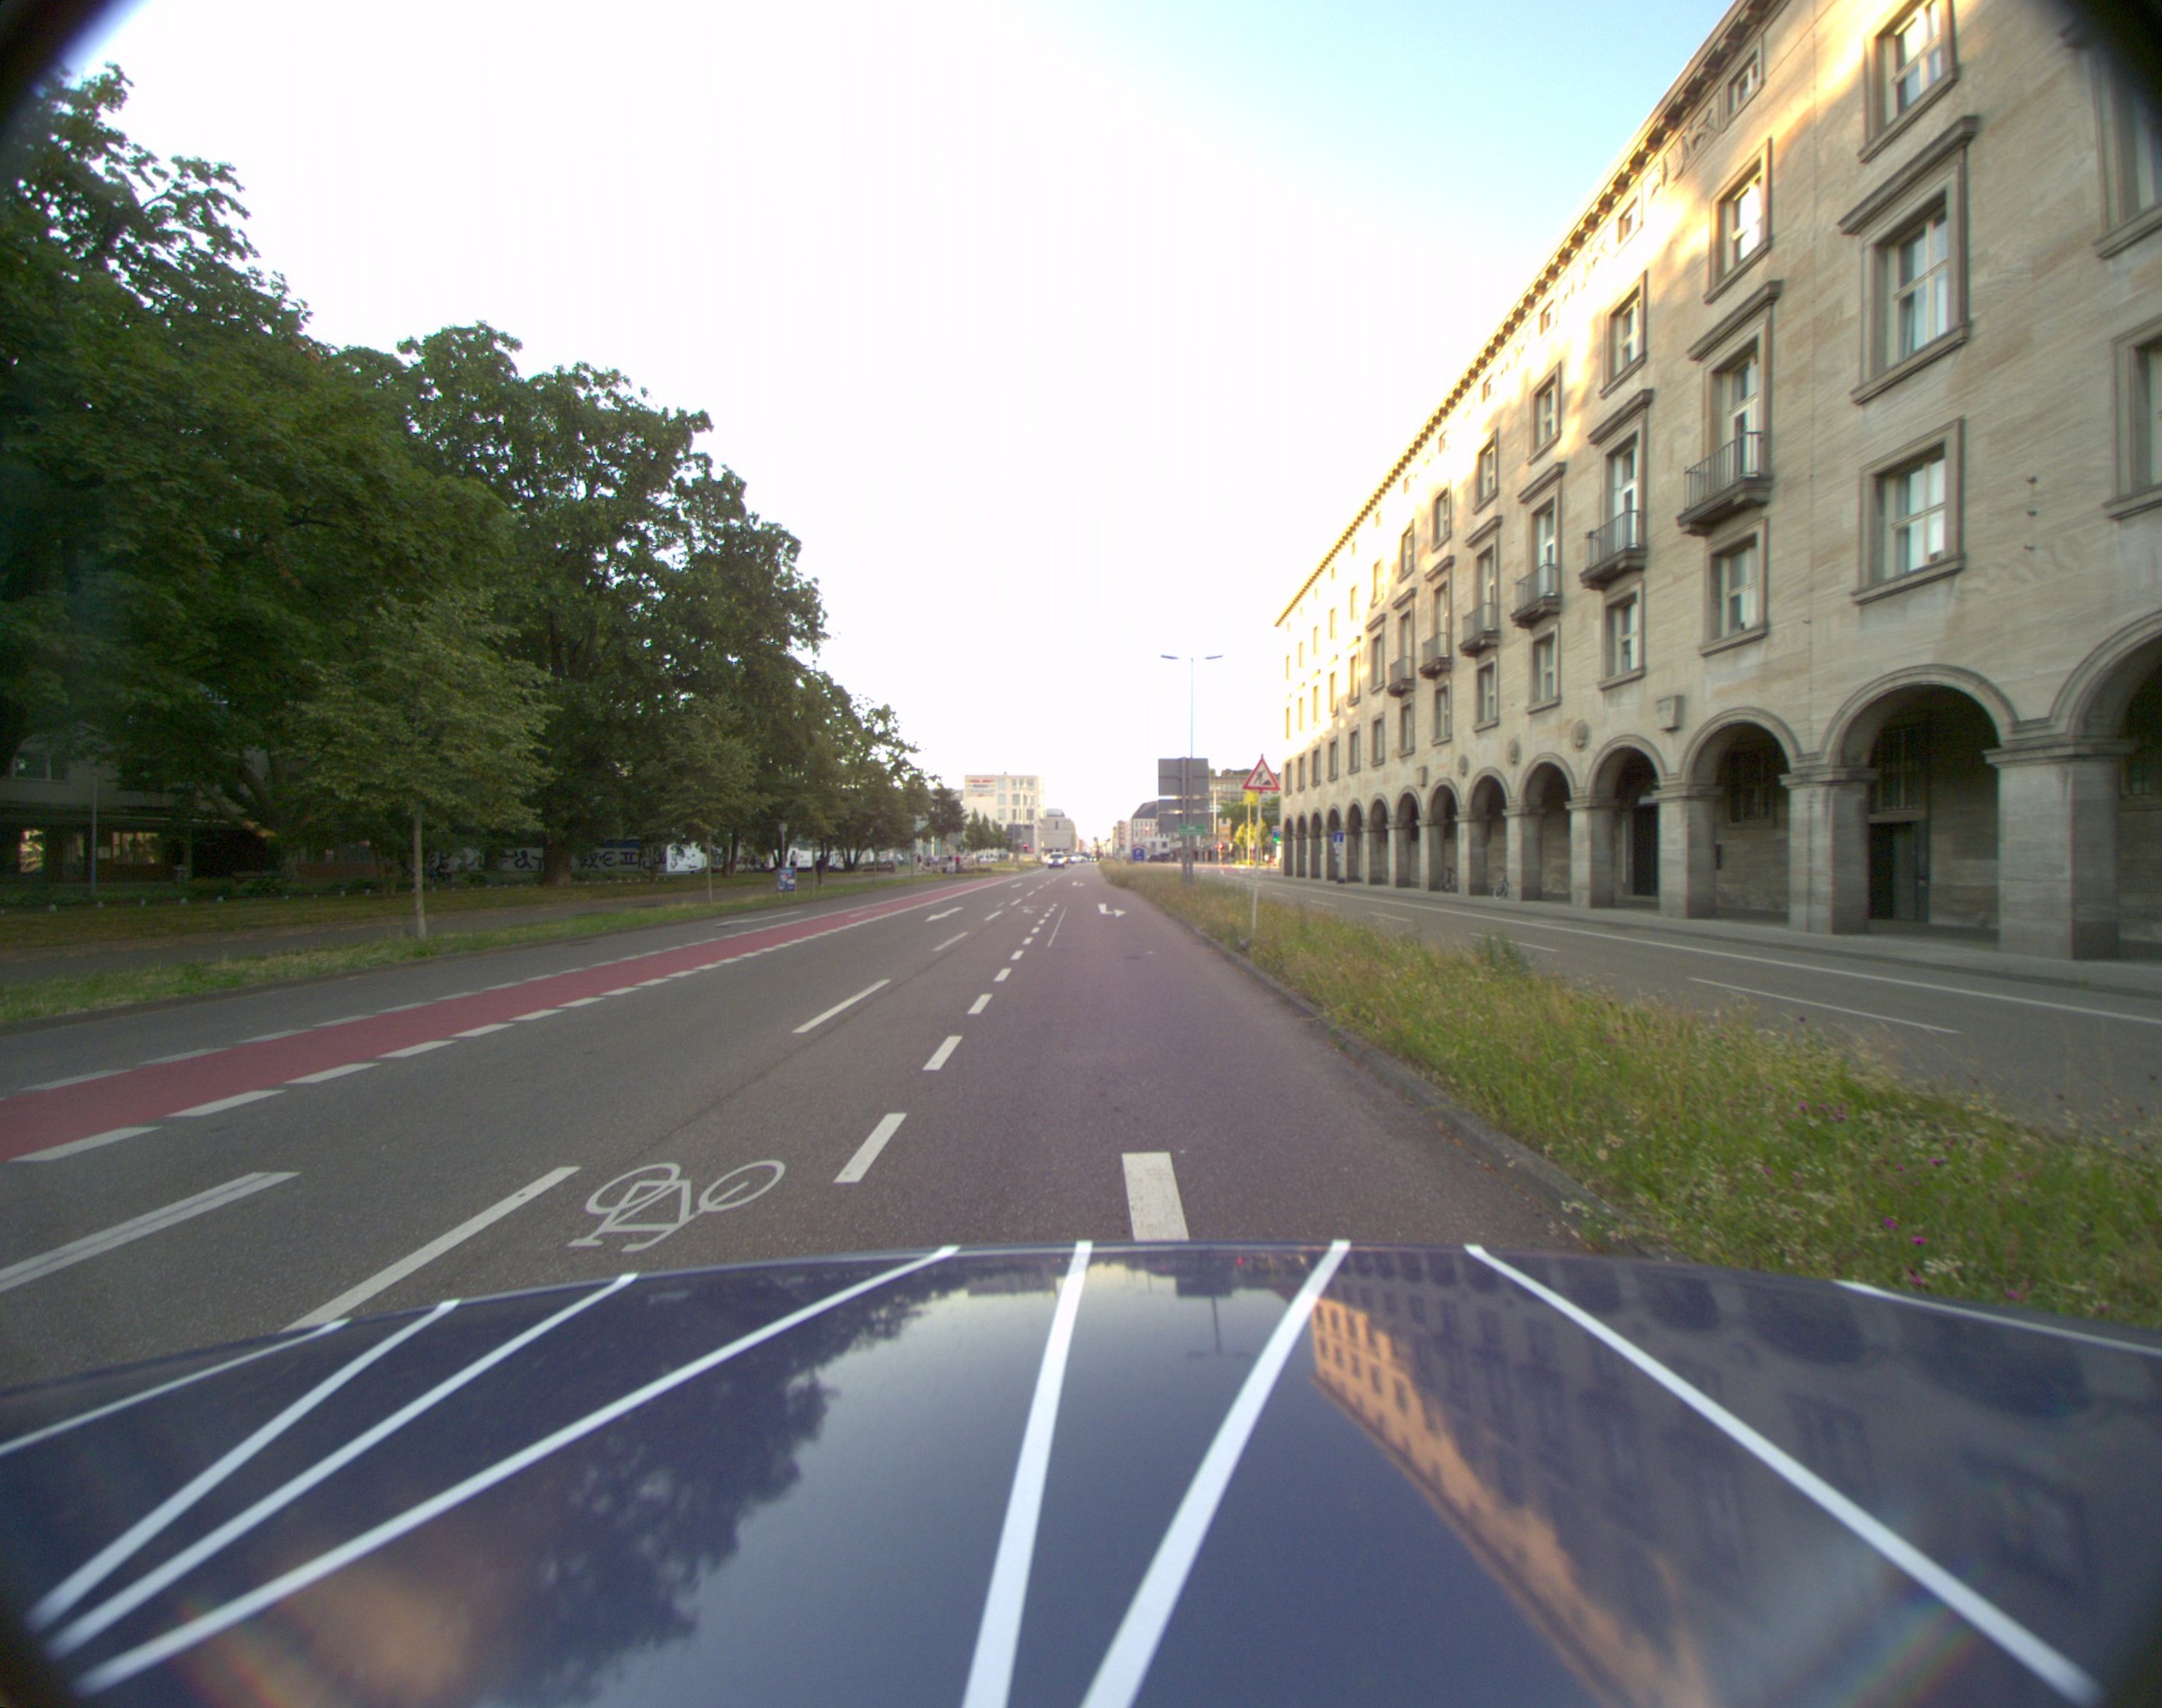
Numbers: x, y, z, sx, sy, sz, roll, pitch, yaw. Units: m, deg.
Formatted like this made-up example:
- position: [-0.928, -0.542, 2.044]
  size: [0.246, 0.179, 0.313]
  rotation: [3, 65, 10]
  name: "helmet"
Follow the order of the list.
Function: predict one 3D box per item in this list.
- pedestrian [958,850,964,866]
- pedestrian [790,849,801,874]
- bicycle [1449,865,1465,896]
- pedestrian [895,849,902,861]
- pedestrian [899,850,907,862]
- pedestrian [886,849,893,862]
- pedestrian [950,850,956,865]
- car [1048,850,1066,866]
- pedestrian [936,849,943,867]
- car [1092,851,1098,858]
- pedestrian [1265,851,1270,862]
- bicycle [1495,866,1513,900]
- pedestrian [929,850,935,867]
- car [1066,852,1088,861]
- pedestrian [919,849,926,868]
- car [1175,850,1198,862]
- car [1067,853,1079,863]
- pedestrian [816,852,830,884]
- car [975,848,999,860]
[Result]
- position: [-13.620, 0.456, 86.431]
  size: [0.638, 1.747, 0.506]
  rotation: [0, 1, 1]
  name: "pedestrian"
- position: [-18.364, 0.478, 48.959]
  size: [0.500, 1.592, 0.522]
  rotation: [0, 1, 1]
  name: "pedestrian"
- position: [15.291, 1.043, 30.943]
  size: [0.513, 1.172, 2.427]
  rotation: [0, 0, 25]
  name: "bicycle"
- position: [-20.168, 0.114, 84.042]
  size: [0.519, 1.347, 0.773]
  rotation: [0, 1, 1]
  name: "pedestrian"
- position: [-20.325, 0.244, 86.811]
  size: [0.728, 1.347, 0.614]
  rotation: [0, 1, 1]
  name: "pedestrian"
- position: [-21.162, 0.161, 83.915]
  size: [0.519, 1.347, 0.773]
  rotation: [0, 1, 1]
  name: "pedestrian"
- position: [-14.644, 0.382, 86.912]
  size: [0.638, 1.747, 0.506]
  rotation: [0, 1, 1]
  name: "pedestrian"
- position: [-2.834, 0.469, 89.917]
  size: [1.767, 1.877, 4.500]
  rotation: [0, 0, 2]
  name: "car"
- position: [-13.975, 0.380, 75.043]
  size: [0.509, 1.720, 0.719]
  rotation: [0, 1, 1]
  name: "pedestrian"
- position: [4.620, 0.025, 256.493]
  size: [1.999, 2.297, 5.089]
  rotation: [0, 0, 0]
  name: "car"
- position: [26.616, 0.317, 108.342]
  size: [0.526, 1.532, 0.390]
  rotation: [0, 1, 1]
  name: "pedestrian"
- position: [15.341, 1.027, 27.542]
  size: [0.513, 1.115, 2.427]
  rotation: [0, 1, 30]
  name: "bicycle"
- position: [-14.724, 0.427, 75.124]
  size: [0.519, 1.720, 0.719]
  rotation: [0, 1, 1]
  name: "pedestrian"
- position: [-0.724, 0.502, 138.131]
  size: [4.028, 1.599, 1.999]
  rotation: [0, 0, -3]
  name: "car"
- position: [-14.773, 0.417, 70.934]
  size: [0.509, 1.720, 0.719]
  rotation: [0, 1, 1]
  name: "pedestrian"
- position: [19.286, 0.362, 139.222]
  size: [3.998, 2.002, 1.999]
  rotation: [0, 0, -2]
  name: "car"
- position: [-1.233, 0.599, 118.494]
  size: [1.826, 1.612, 4.336]
  rotation: [0, 0, 0]
  name: "car"
- position: [-13.818, 0.755, 40.651]
  size: [0.558, 1.729, 0.555]
  rotation: [0, 1, 1]
  name: "pedestrian"
- position: [-16.194, 0.039, 131.019]
  size: [3.998, 2.002, 1.999]
  rotation: [0, 0, -4]
  name: "car"
